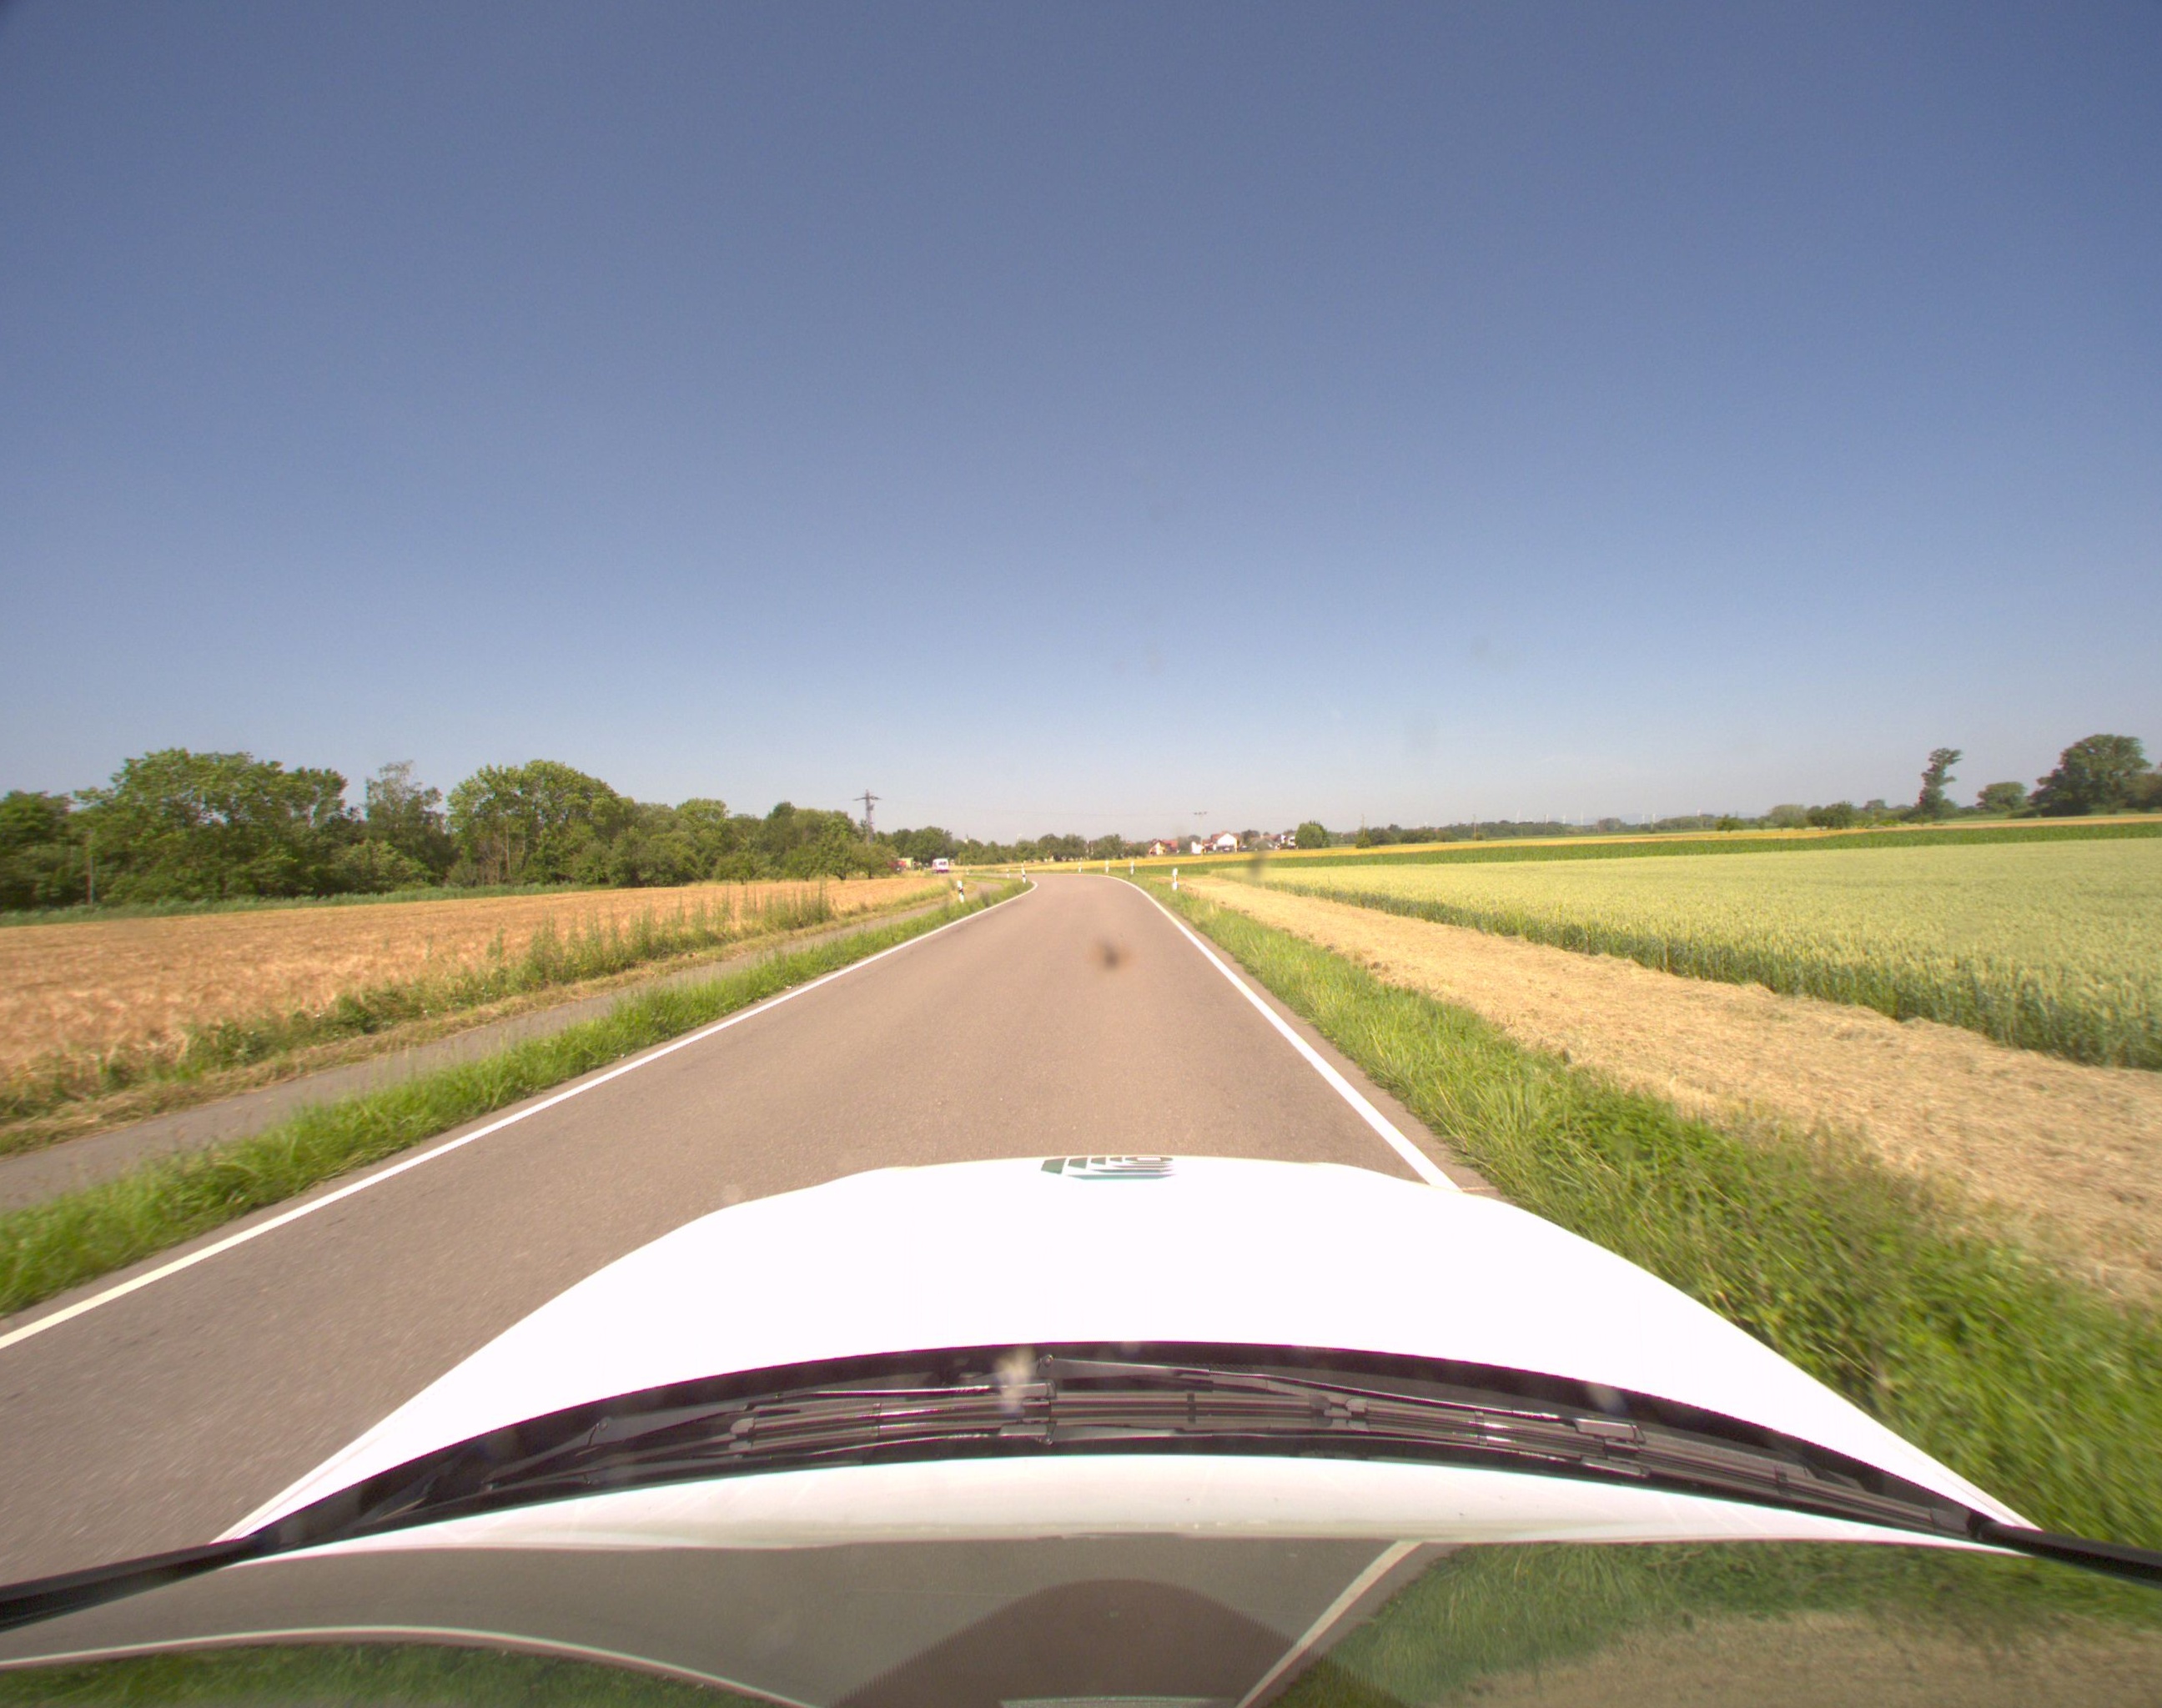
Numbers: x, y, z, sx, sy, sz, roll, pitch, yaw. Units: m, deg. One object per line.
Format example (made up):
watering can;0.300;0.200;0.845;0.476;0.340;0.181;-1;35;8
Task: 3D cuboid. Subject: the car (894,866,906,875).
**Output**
car;-37.420;3.327;168.248;1.892;1.714;3.989;-4;0;-18

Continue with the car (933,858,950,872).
car;-23.796;1.880;138.961;2.000;2.266;4.694;-3;0;-19
